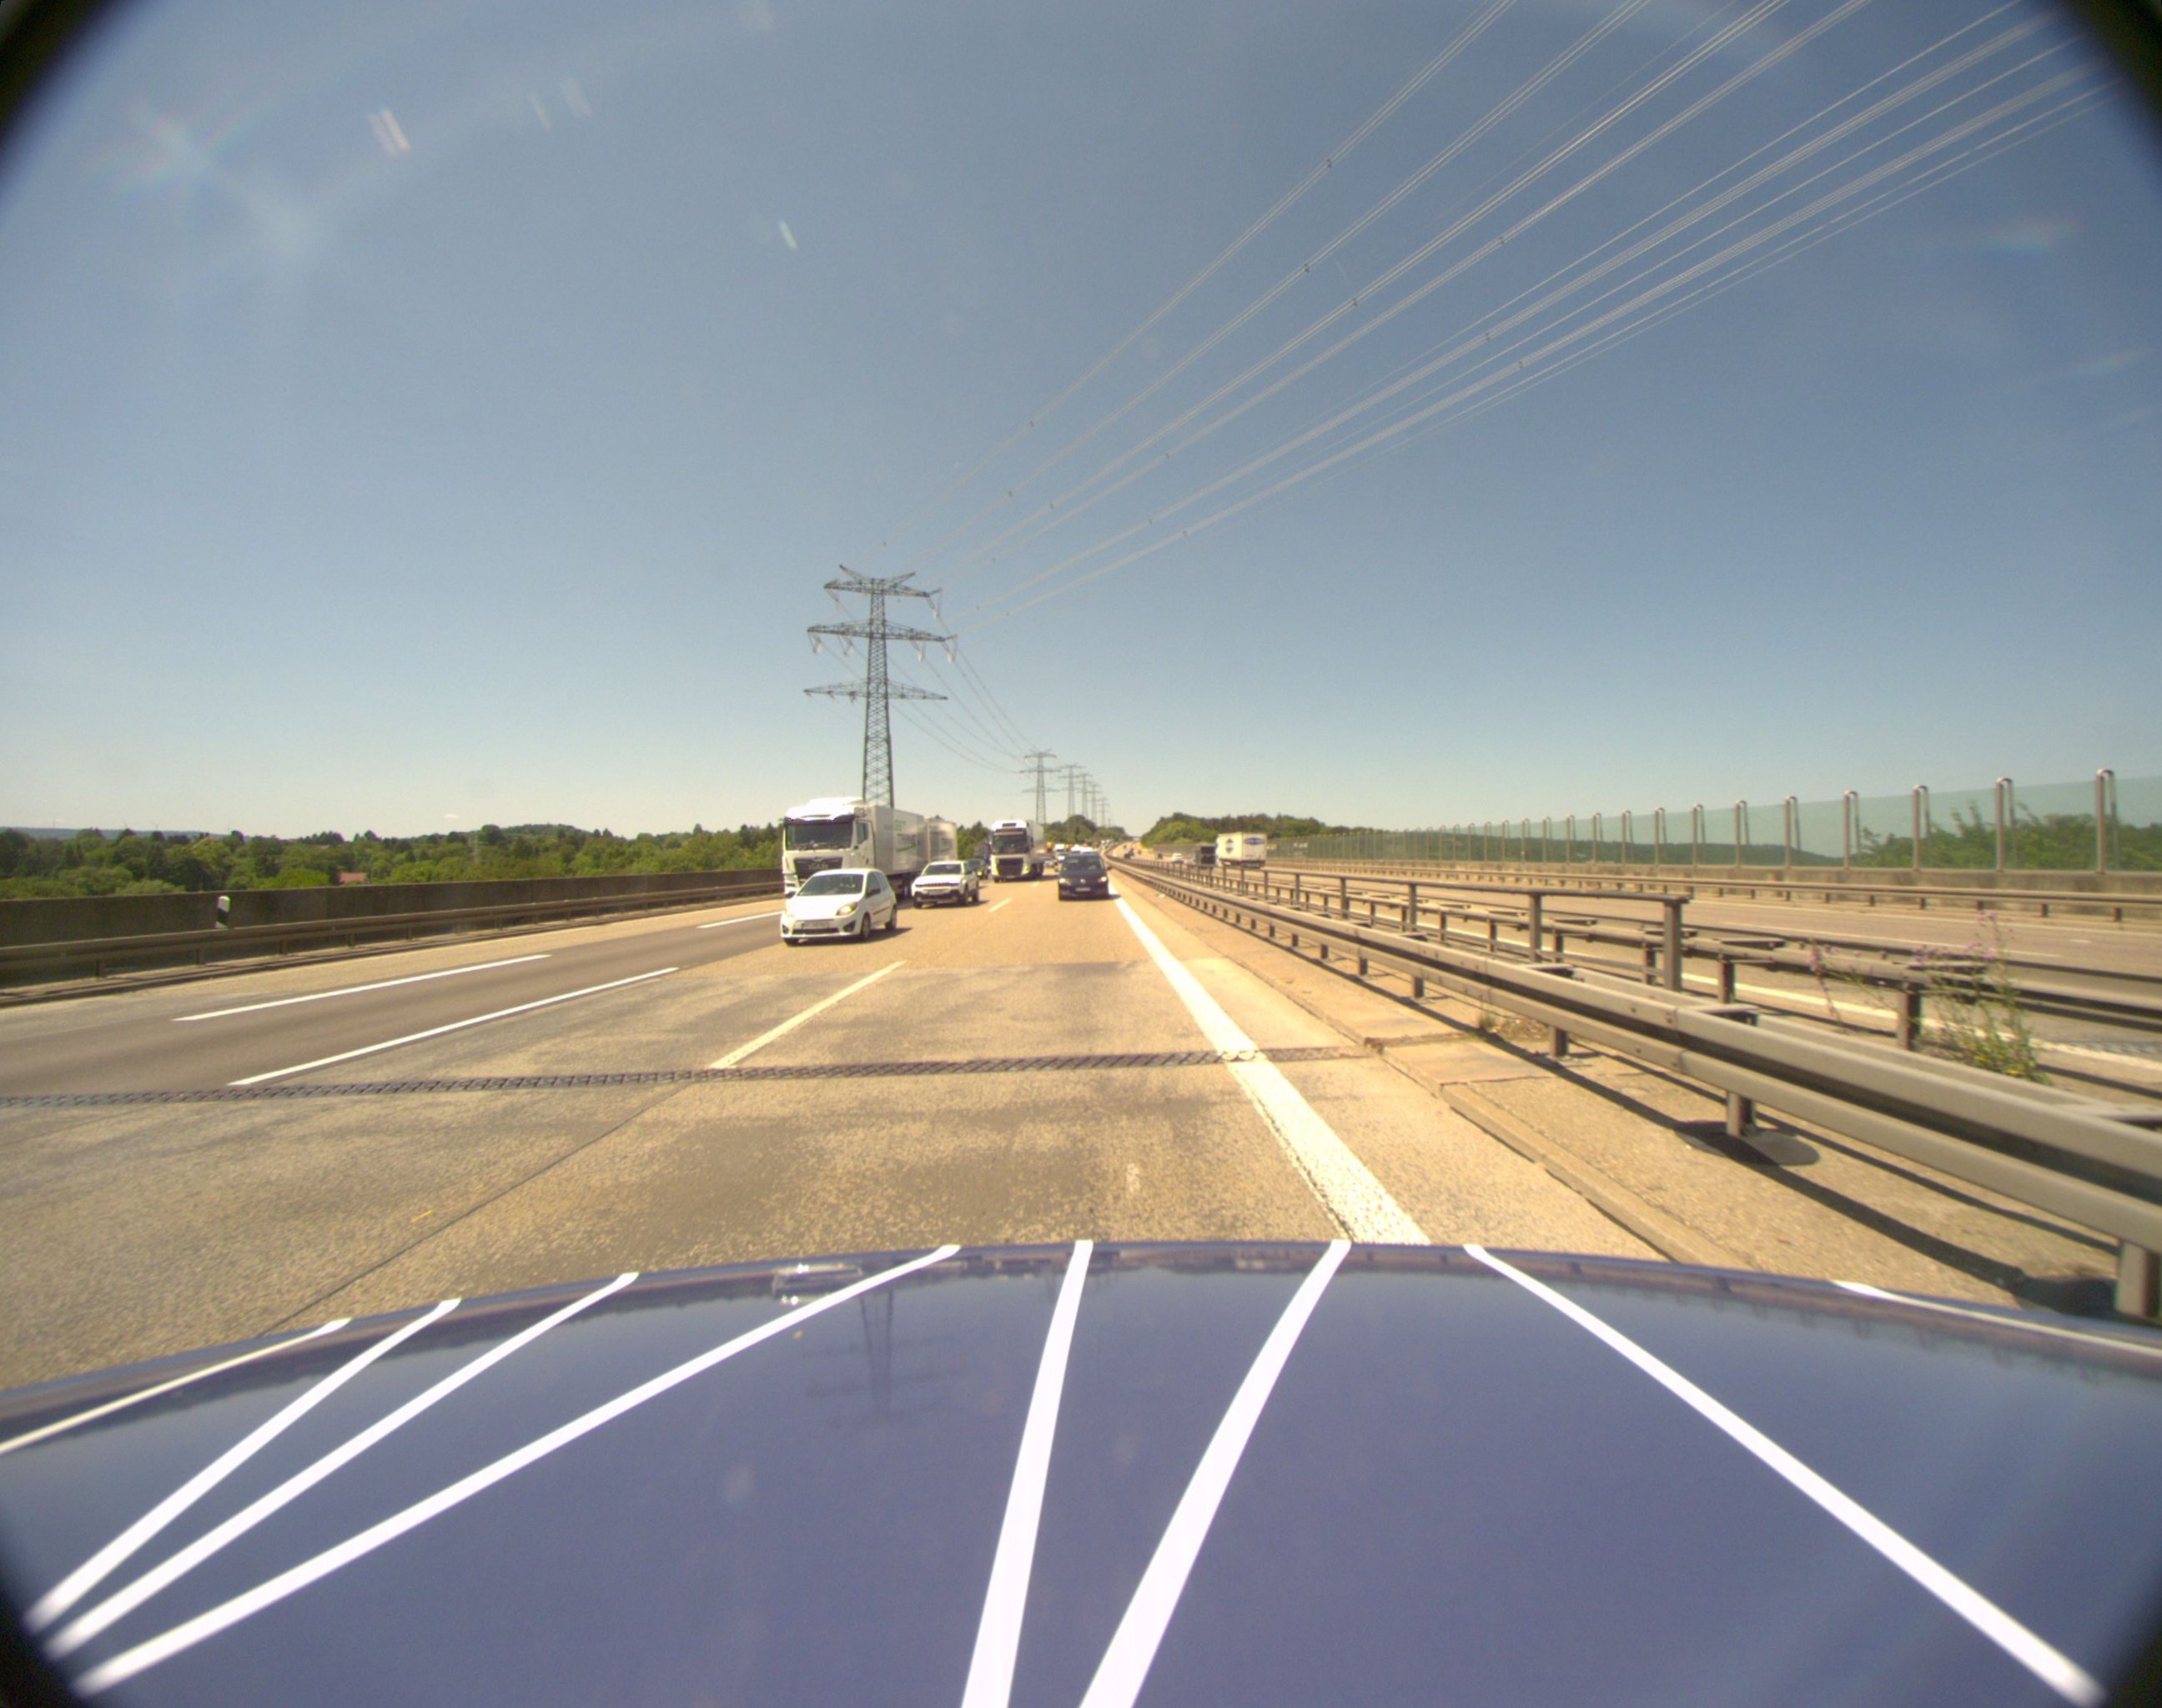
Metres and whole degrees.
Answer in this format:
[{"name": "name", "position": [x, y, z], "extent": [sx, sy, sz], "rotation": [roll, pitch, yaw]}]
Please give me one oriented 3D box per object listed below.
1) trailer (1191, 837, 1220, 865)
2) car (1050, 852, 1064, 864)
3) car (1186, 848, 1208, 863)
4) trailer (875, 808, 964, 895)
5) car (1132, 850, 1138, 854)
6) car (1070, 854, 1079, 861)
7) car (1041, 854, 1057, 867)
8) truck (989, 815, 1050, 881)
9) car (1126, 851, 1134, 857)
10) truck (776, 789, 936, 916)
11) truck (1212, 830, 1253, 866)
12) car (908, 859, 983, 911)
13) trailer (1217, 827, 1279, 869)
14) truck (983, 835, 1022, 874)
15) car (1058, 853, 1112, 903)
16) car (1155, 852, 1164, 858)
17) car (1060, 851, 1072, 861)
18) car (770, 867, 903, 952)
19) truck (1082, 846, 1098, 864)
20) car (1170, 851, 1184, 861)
[{"name": "trailer", "position": [13.266, -0.347, 81.302], "extent": [2.171, 2.761, 5.375], "rotation": [2, 1, 1]}, {"name": "car", "position": [-3.497, 0.600, 112.293], "extent": [1.821, 1.569, 3.999], "rotation": [-2, 1, 0]}, {"name": "car", "position": [13.121, 0.127, 86.212], "extent": [1.875, 1.616, 4.629], "rotation": [1, 0, 1]}, {"name": "trailer", "position": [-8.136, -0.117, 39.347], "extent": [2.752, 3.918, 7.773], "rotation": [-3, 0, 0]}, {"name": "car", "position": [17.633, -0.764, 249.067], "extent": [1.765, 1.312, 4.270], "rotation": [-2, 1, 0]}, {"name": "car", "position": [-1.521, 0.849, 174.776], "extent": [1.821, 1.569, 3.999], "rotation": [-2, 1, 0]}, {"name": "car", "position": [-4.040, 0.827, 96.240], "extent": [1.821, 1.569, 3.999], "rotation": [-2, 1, 0]}, {"name": "truck", "position": [-4.118, -0.370, 54.433], "extent": [2.717, 4.015, 14.256], "rotation": [-3, 0, 1]}, {"name": "car", "position": [12.455, -0.029, 193.302], "extent": [1.796, 1.563, 3.999], "rotation": [-3, 1, 1]}, {"name": "truck", "position": [-8.213, -0.064, 29.755], "extent": [2.695, 3.907, 11.296], "rotation": [-3, 0, 0]}, {"name": "truck", "position": [18.354, -0.775, 92.367], "extent": [4.016, 4.205, 4.857], "rotation": [0, 2, 0]}, {"name": "car", "position": [-4.615, 1.008, 26.386], "extent": [1.776, 1.521, 3.851], "rotation": [-3, 1, 1]}, {"name": "trailer", "position": [18.294, -0.705, 84.660], "extent": [3.999, 4.211, 14.038], "rotation": [0, 1, 1]}, {"name": "truck", "position": [-8.356, -0.030, 81.889], "extent": [2.841, 3.858, 11.272], "rotation": [-3, 1, 0]}, {"name": "car", "position": [0.176, 0.798, 27.432], "extent": [1.748, 1.569, 4.000], "rotation": [-3, 1, 1]}, {"name": "car", "position": [19.201, 0.170, 185.917], "extent": [1.656, 1.454, 3.541], "rotation": [0, 1, 1]}, {"name": "car", "position": [-2.633, 0.302, 132.636], "extent": [1.821, 1.569, 3.999], "rotation": [-2, 1, 0]}, {"name": "car", "position": [-5.119, 1.099, 16.417], "extent": [1.660, 1.501, 3.825], "rotation": [0, 1, 0]}, {"name": "truck", "position": [1.500, 0.148, 123.598], "extent": [2.309, 2.789, 5.109], "rotation": [-3, 1, 1]}, {"name": "car", "position": [15.889, 0.323, 125.496], "extent": [1.753, 1.686, 4.384], "rotation": [0, 1, 1]}]
